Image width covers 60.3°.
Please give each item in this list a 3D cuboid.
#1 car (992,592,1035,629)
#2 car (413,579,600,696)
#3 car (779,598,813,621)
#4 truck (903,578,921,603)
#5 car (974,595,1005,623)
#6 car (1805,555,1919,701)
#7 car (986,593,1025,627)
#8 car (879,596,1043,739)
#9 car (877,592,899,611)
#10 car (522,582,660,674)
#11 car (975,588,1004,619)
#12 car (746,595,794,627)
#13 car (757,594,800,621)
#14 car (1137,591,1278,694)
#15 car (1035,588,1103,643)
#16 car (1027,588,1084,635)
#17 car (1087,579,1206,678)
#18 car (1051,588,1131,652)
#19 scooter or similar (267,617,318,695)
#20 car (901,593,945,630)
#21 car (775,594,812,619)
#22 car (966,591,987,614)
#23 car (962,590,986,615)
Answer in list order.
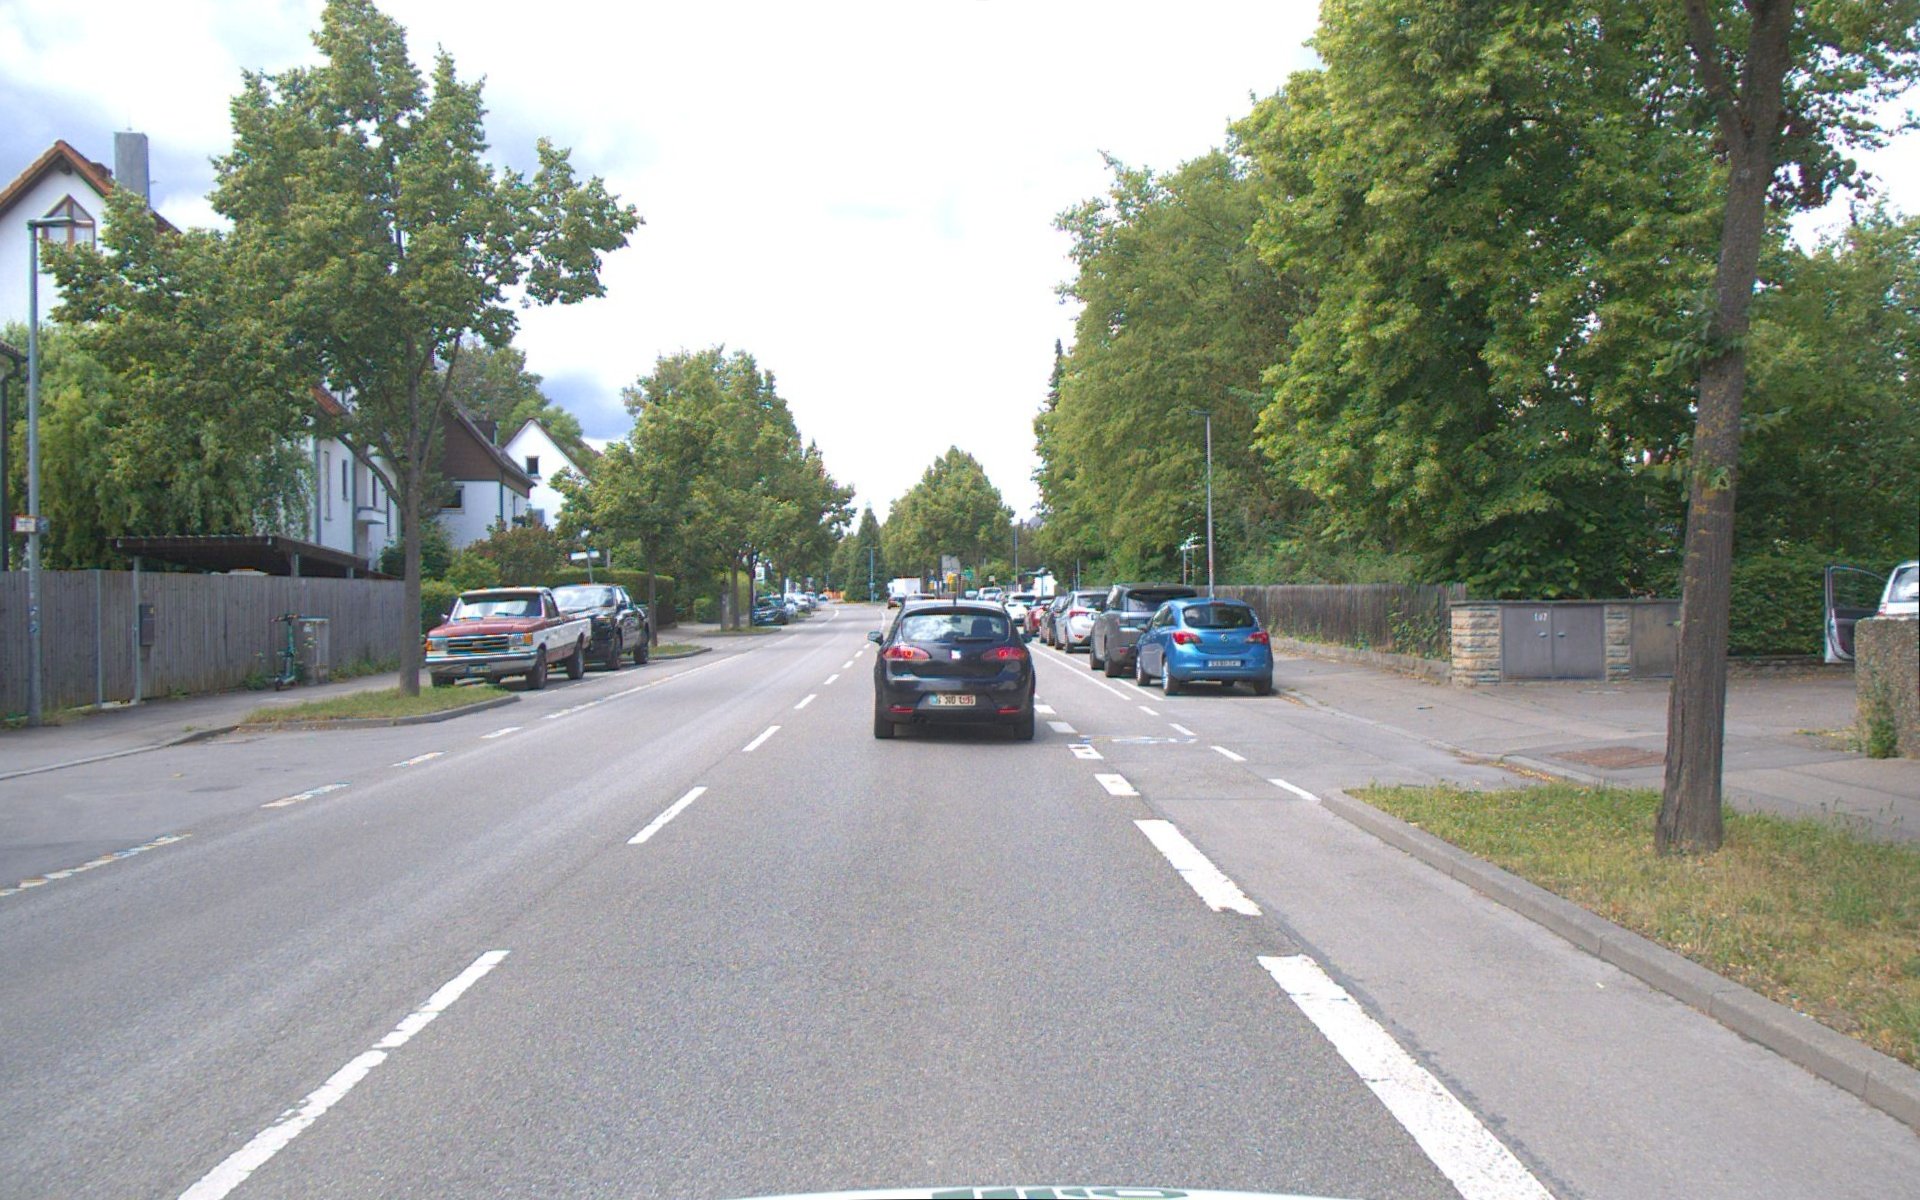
[{"bbox_3d":[2.380,0.444,74.931,1.654,1.591,4.212,-1,0,-2],"label":"car"},{"bbox_3d":[-8.450,0.634,31.445,2.058,1.929,5.782,-3,0,-2],"label":"car"},{"bbox_3d":[-11.971,0.671,121.282,2.058,1.532,5.782,-3,0,-2],"label":"car"},{"bbox_3d":[-6.201,-1.199,212.401,2.233,3.158,8.506,1,0,-2],"label":"truck"},{"bbox_3d":[1.753,0.527,99.134,1.654,1.591,4.212,-1,0,-2],"label":"car"},{"bbox_3d":[12.278,0.322,19.789,3.896,1.631,1.739,0,0,-21],"label":"car"},{"bbox_3d":[2.203,0.460,80.567,1.654,1.591,4.212,-1,0,-2],"label":"car"},{"bbox_3d":[-0.083,0.681,18.559,1.630,1.426,3.809,1,0,-3],"label":"car"},{"bbox_3d":[-6.483,0.118,149.220,1.843,1.718,4.212,-1,0,-2],"label":"car"},{"bbox_3d":[-8.594,0.599,39.072,2.058,1.929,5.782,-3,0,-2],"label":"car"},{"bbox_3d":[1.863,0.195,105.887,1.654,1.908,4.212,-1,0,-2],"label":"car"},{"bbox_3d":[-10.152,0.557,88.809,2.058,1.532,5.782,-3,0,-2],"label":"car"},{"bbox_3d":[-11.100,0.417,101.493,2.058,1.532,5.782,-3,0,-2],"label":"car"},{"bbox_3d":[3.907,0.634,26.592,1.654,1.516,3.353,-1,0,-2],"label":"car"},{"bbox_3d":[3.276,0.436,50.463,1.654,1.591,4.212,-1,0,-2],"label":"car"},{"bbox_3d":[3.369,0.402,59.244,1.654,1.591,4.212,-1,0,-2],"label":"car"},{"bbox_3d":[3.498,0.496,31.693,1.654,1.741,4.212,-1,0,-2],"label":"car"},{"bbox_3d":[3.463,0.501,44.248,1.654,1.591,4.212,-1,0,-2],"label":"car"},{"bbox_3d":[-11.323,0.933,28.087,0.380,1.251,1.497,-1,0,-6],"label":"scooter or similar"},{"bbox_3d":[-1.570,0.487,70.983,1.808,1.536,3.811,1,0,-1],"label":"car"},{"bbox_3d":[-11.204,0.439,111.469,2.058,1.532,5.782,-3,0,-2],"label":"car"},{"bbox_3d":[1.413,0.223,142.507,1.654,1.908,4.212,-1,0,-2],"label":"car"},{"bbox_3d":[1.091,0.207,130.683,1.654,1.908,4.212,-1,0,-2],"label":"car"}]
